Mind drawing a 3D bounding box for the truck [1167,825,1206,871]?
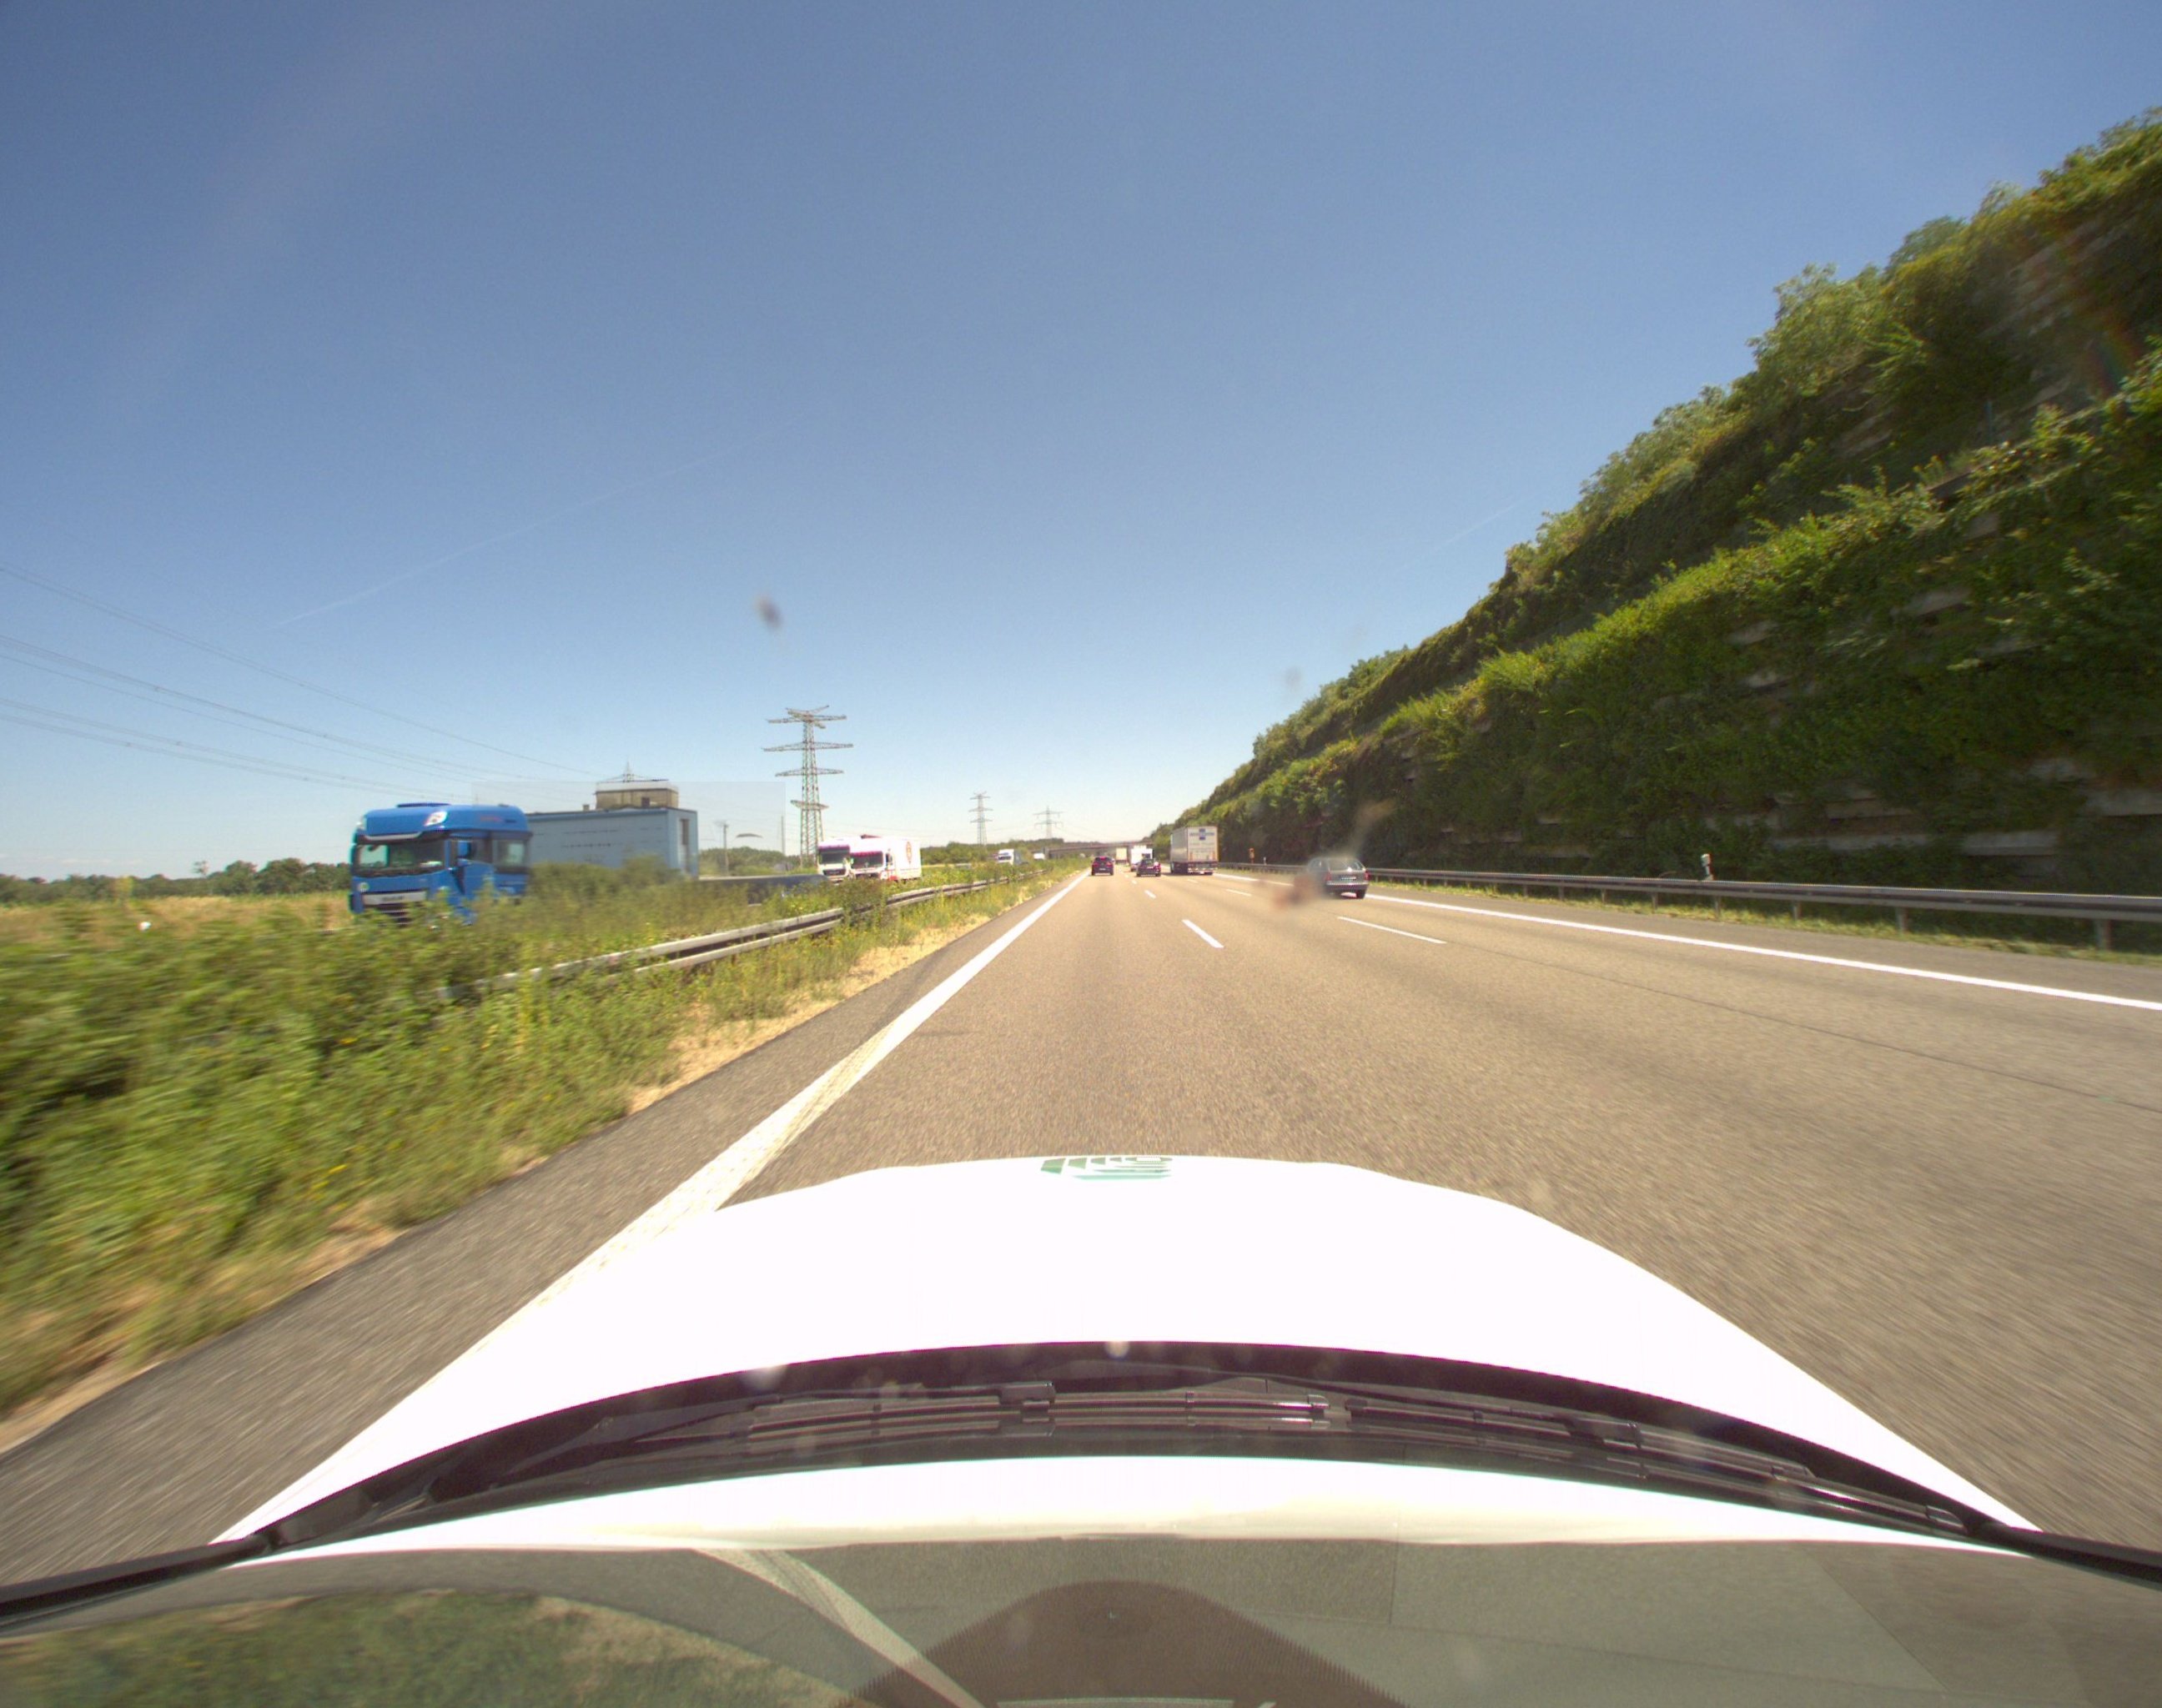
[{"bbox_3d":[10.108,-0.526,78.549,3.124,4.142,5.505,-2,0,1],"label":"truck"}]

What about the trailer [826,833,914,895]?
[{"bbox_3d":[-15.965,0.744,62.766,3.181,4.306,12.275,-1,-1,2],"label":"trailer"}]

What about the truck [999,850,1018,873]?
[{"bbox_3d":[-13.075,1.333,147.300,2.686,4.068,5.803,-2,0,1],"label":"truck"}]

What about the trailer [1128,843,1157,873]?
[{"bbox_3d":[6.887,0.466,93.097,2.602,3.213,9.953,-2,0,1],"label":"trailer"}]

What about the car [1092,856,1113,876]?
[{"bbox_3d":[1.918,1.097,73.221,1.823,1.670,4.000,-2,0,1],"label":"car"}]

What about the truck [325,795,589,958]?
[{"bbox_3d":[-17.142,0.562,22.946,2.853,3.907,5.622,-3,0,1],"label":"truck"}]

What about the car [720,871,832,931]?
[{"bbox_3d":[-8.984,1.330,24.378,1.659,1.495,4.002,-3,0,2],"label":"car"}]

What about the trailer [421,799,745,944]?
[{"bbox_3d":[-16.962,0.531,30.040,2.839,3.977,14.146,-3,0,1],"label":"trailer"}]

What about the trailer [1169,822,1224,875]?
[{"bbox_3d":[9.957,-0.421,71.824,3.171,4.121,13.435,-3,0,1],"label":"trailer"}]

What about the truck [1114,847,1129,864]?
[{"bbox_3d":[10.156,0.395,206.033,3.397,4.280,10.610,-2,0,2],"label":"truck"}]

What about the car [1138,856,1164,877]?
[{"bbox_3d":[5.627,0.989,65.996,1.823,1.525,4.002,-2,0,2],"label":"car"}]

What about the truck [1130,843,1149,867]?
[{"bbox_3d":[11.152,0.225,156.336,3.107,4.280,11.937,-2,0,2],"label":"truck"}]

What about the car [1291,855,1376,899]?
[{"bbox_3d":[8.945,0.763,29.235,1.679,1.428,4.453,-1,0,1],"label":"car"}]

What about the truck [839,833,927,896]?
[{"bbox_3d":[-12.344,0.640,51.741,2.927,3.413,9.367,-4,0,1],"label":"truck"}]

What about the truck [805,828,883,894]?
[{"bbox_3d":[-16.225,0.462,56.252,3.202,4.158,6.439,-3,0,1],"label":"truck"}]
